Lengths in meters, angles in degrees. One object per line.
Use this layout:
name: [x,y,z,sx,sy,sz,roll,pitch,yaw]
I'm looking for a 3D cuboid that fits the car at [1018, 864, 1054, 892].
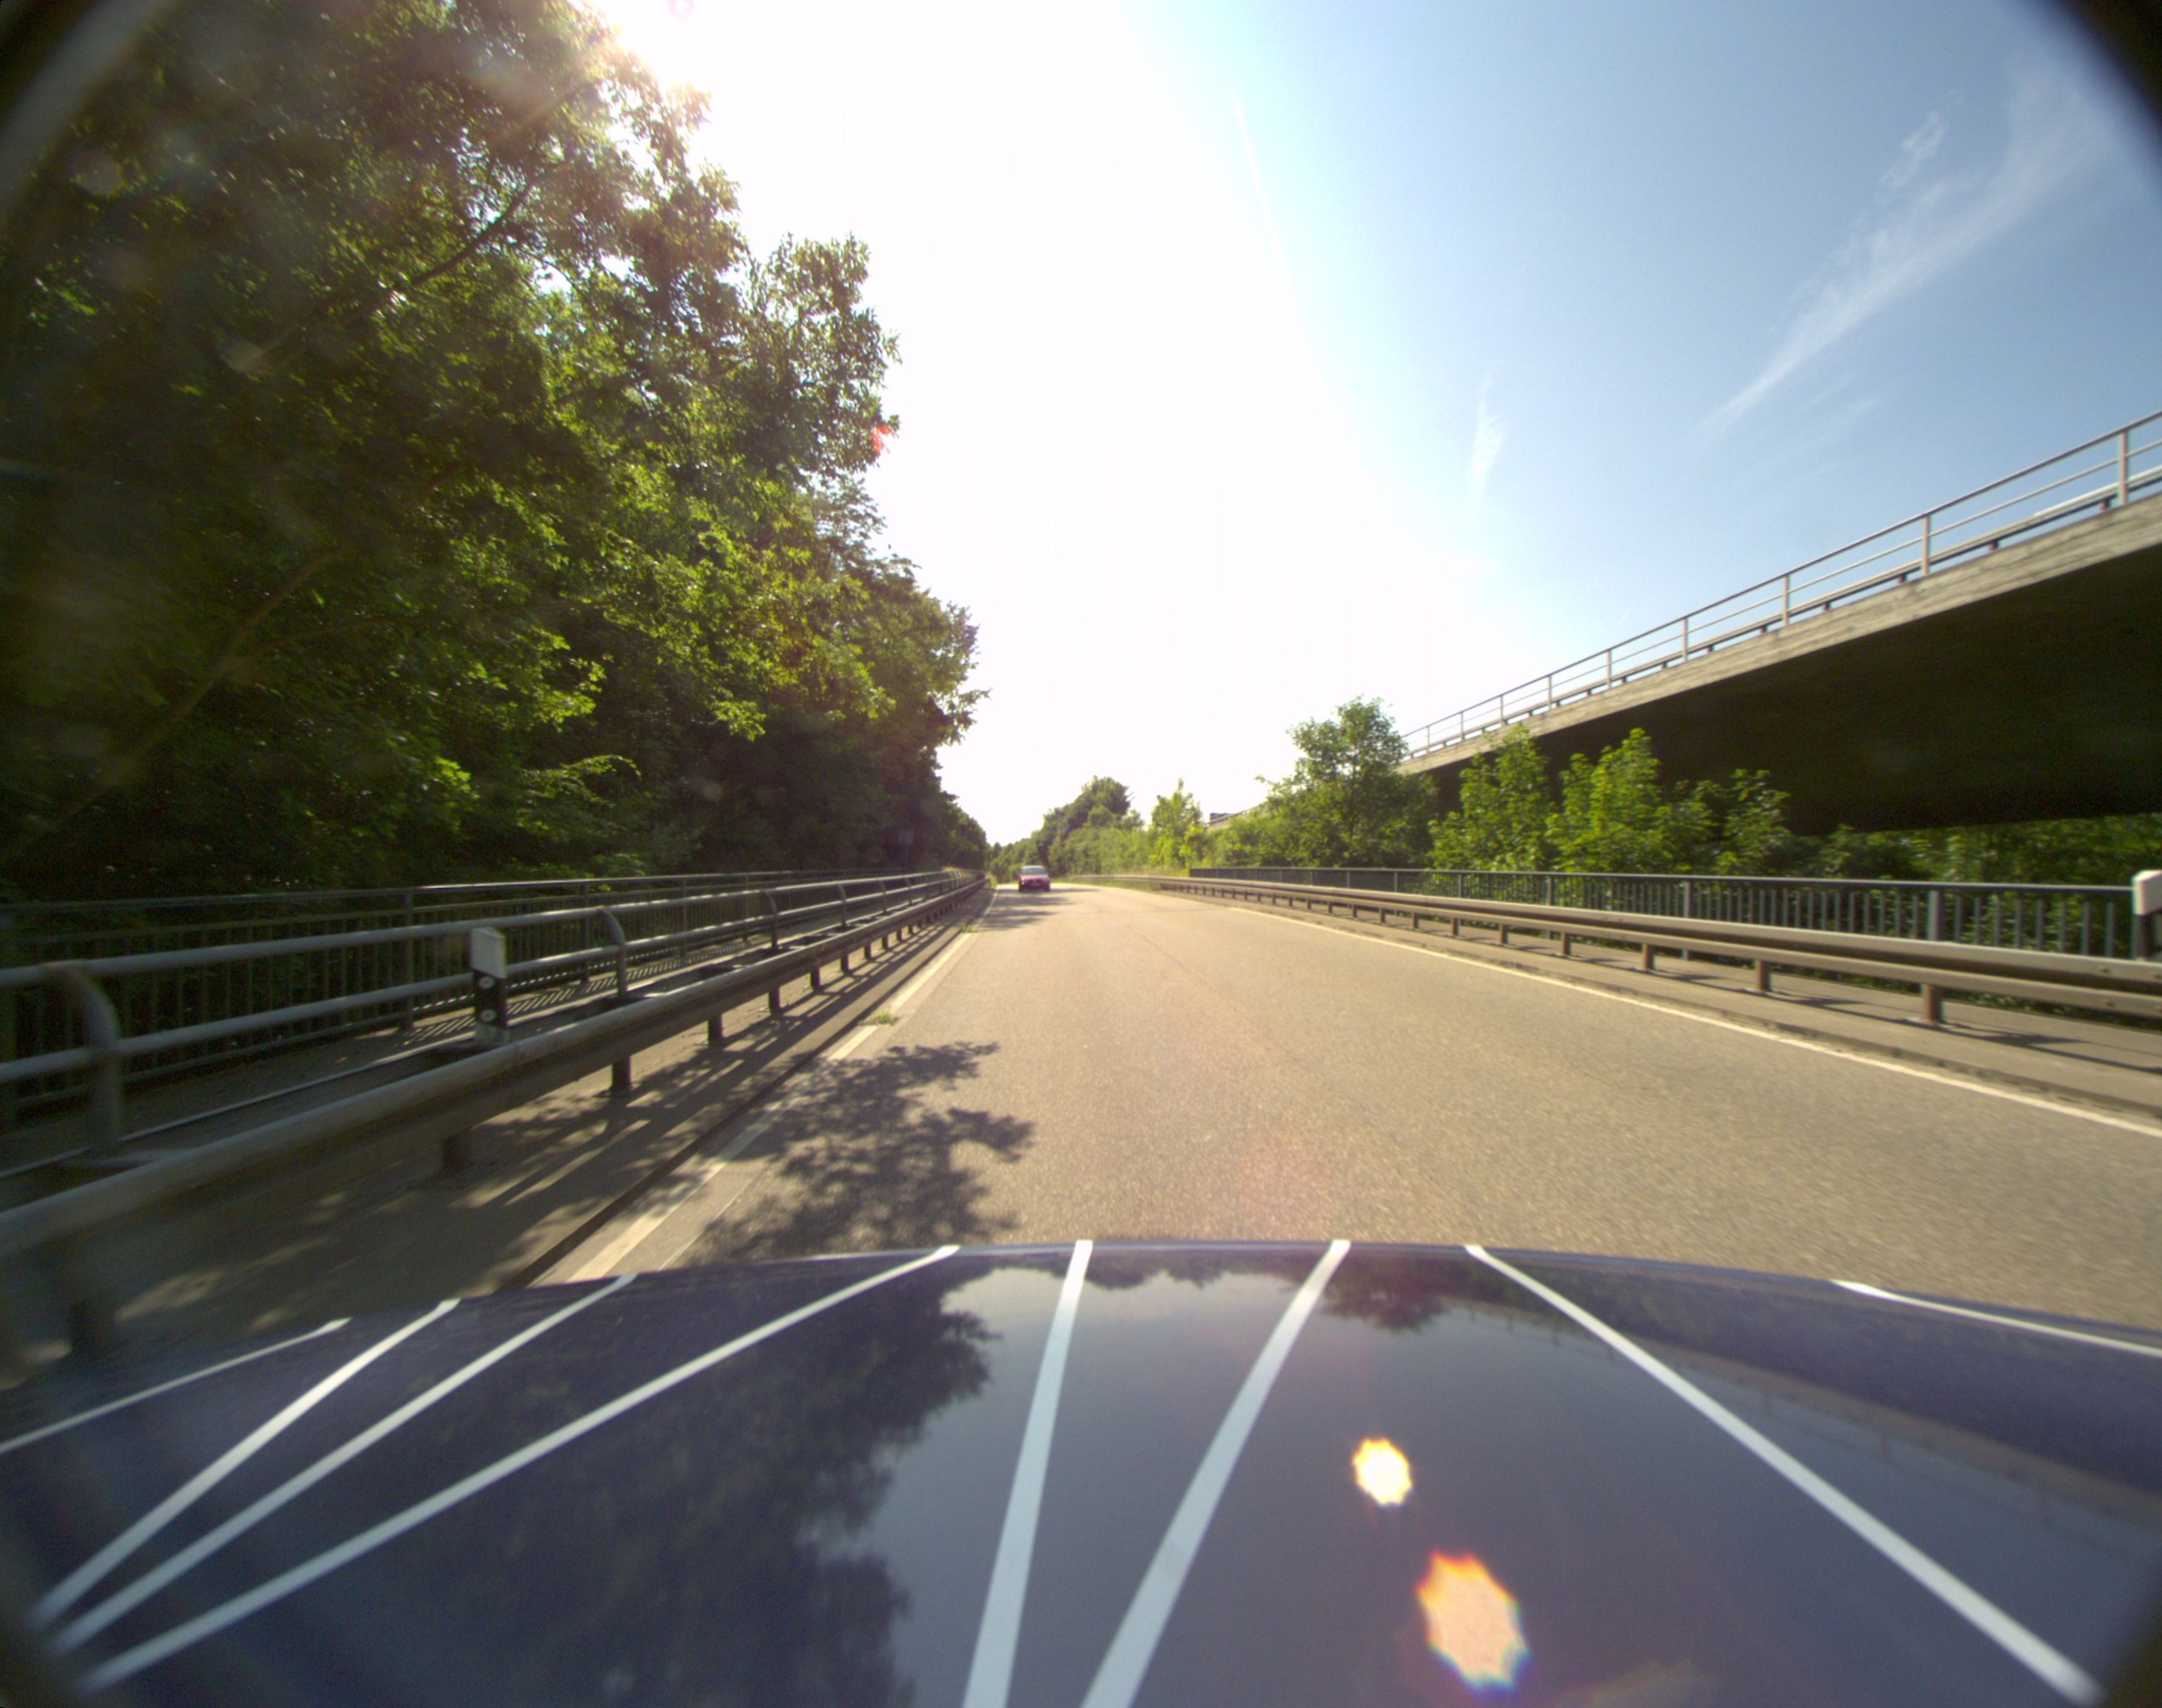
car: [-2.628,1.335,43.892,1.817,1.488,4.283,-1,0,-7]
